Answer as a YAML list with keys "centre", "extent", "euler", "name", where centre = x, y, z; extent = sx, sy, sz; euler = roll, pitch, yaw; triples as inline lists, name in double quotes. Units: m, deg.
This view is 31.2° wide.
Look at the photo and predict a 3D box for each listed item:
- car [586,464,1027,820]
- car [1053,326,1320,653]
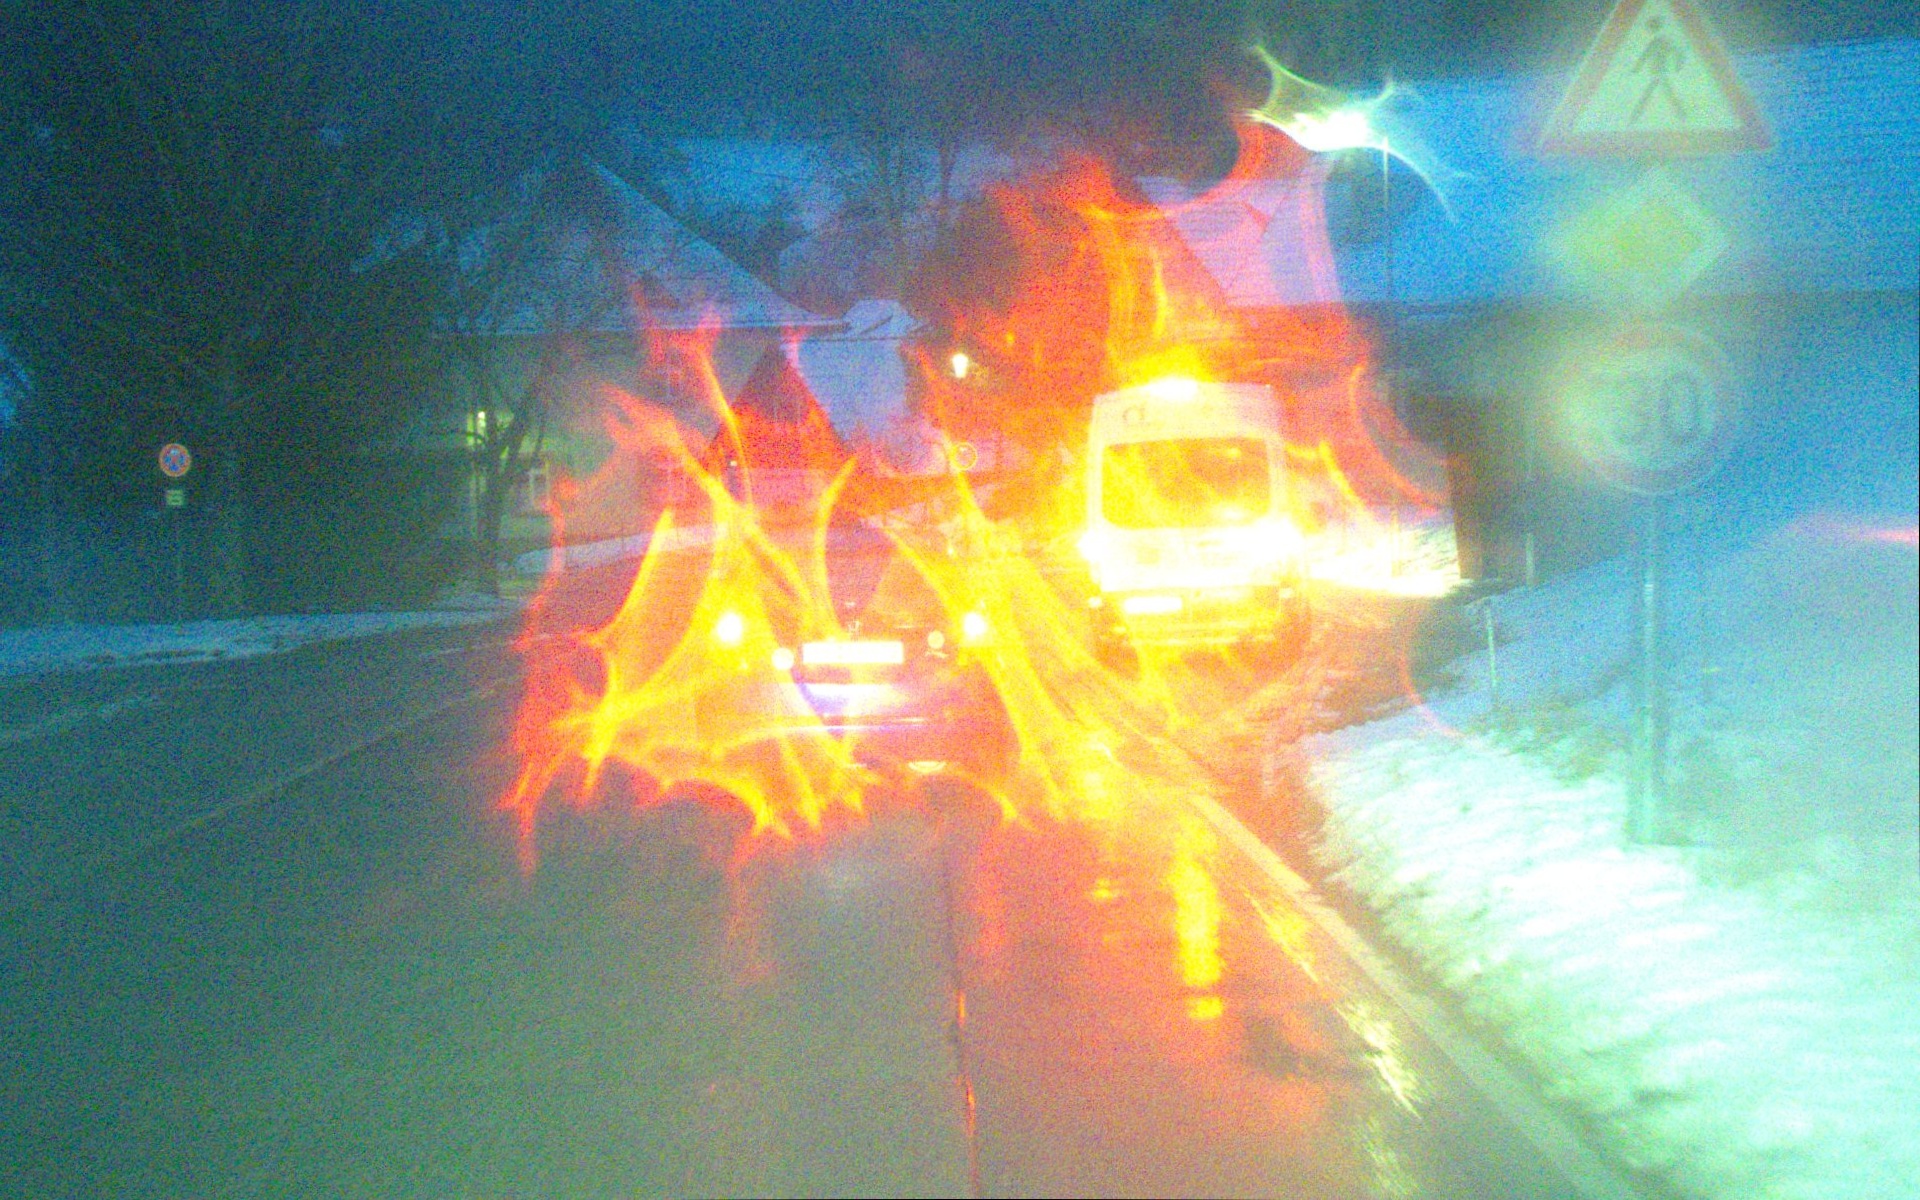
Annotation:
- centre: [-0.868, 0.178, 20.327]
  extent: [2.274, 1.834, 5.007]
  euler: [0, 1, -2]
  name: "car"
- centre: [2.249, -1.044, 34.811]
  extent: [2.435, 3.008, 5.324]
  euler: [-1, 0, 3]
  name: "car"
